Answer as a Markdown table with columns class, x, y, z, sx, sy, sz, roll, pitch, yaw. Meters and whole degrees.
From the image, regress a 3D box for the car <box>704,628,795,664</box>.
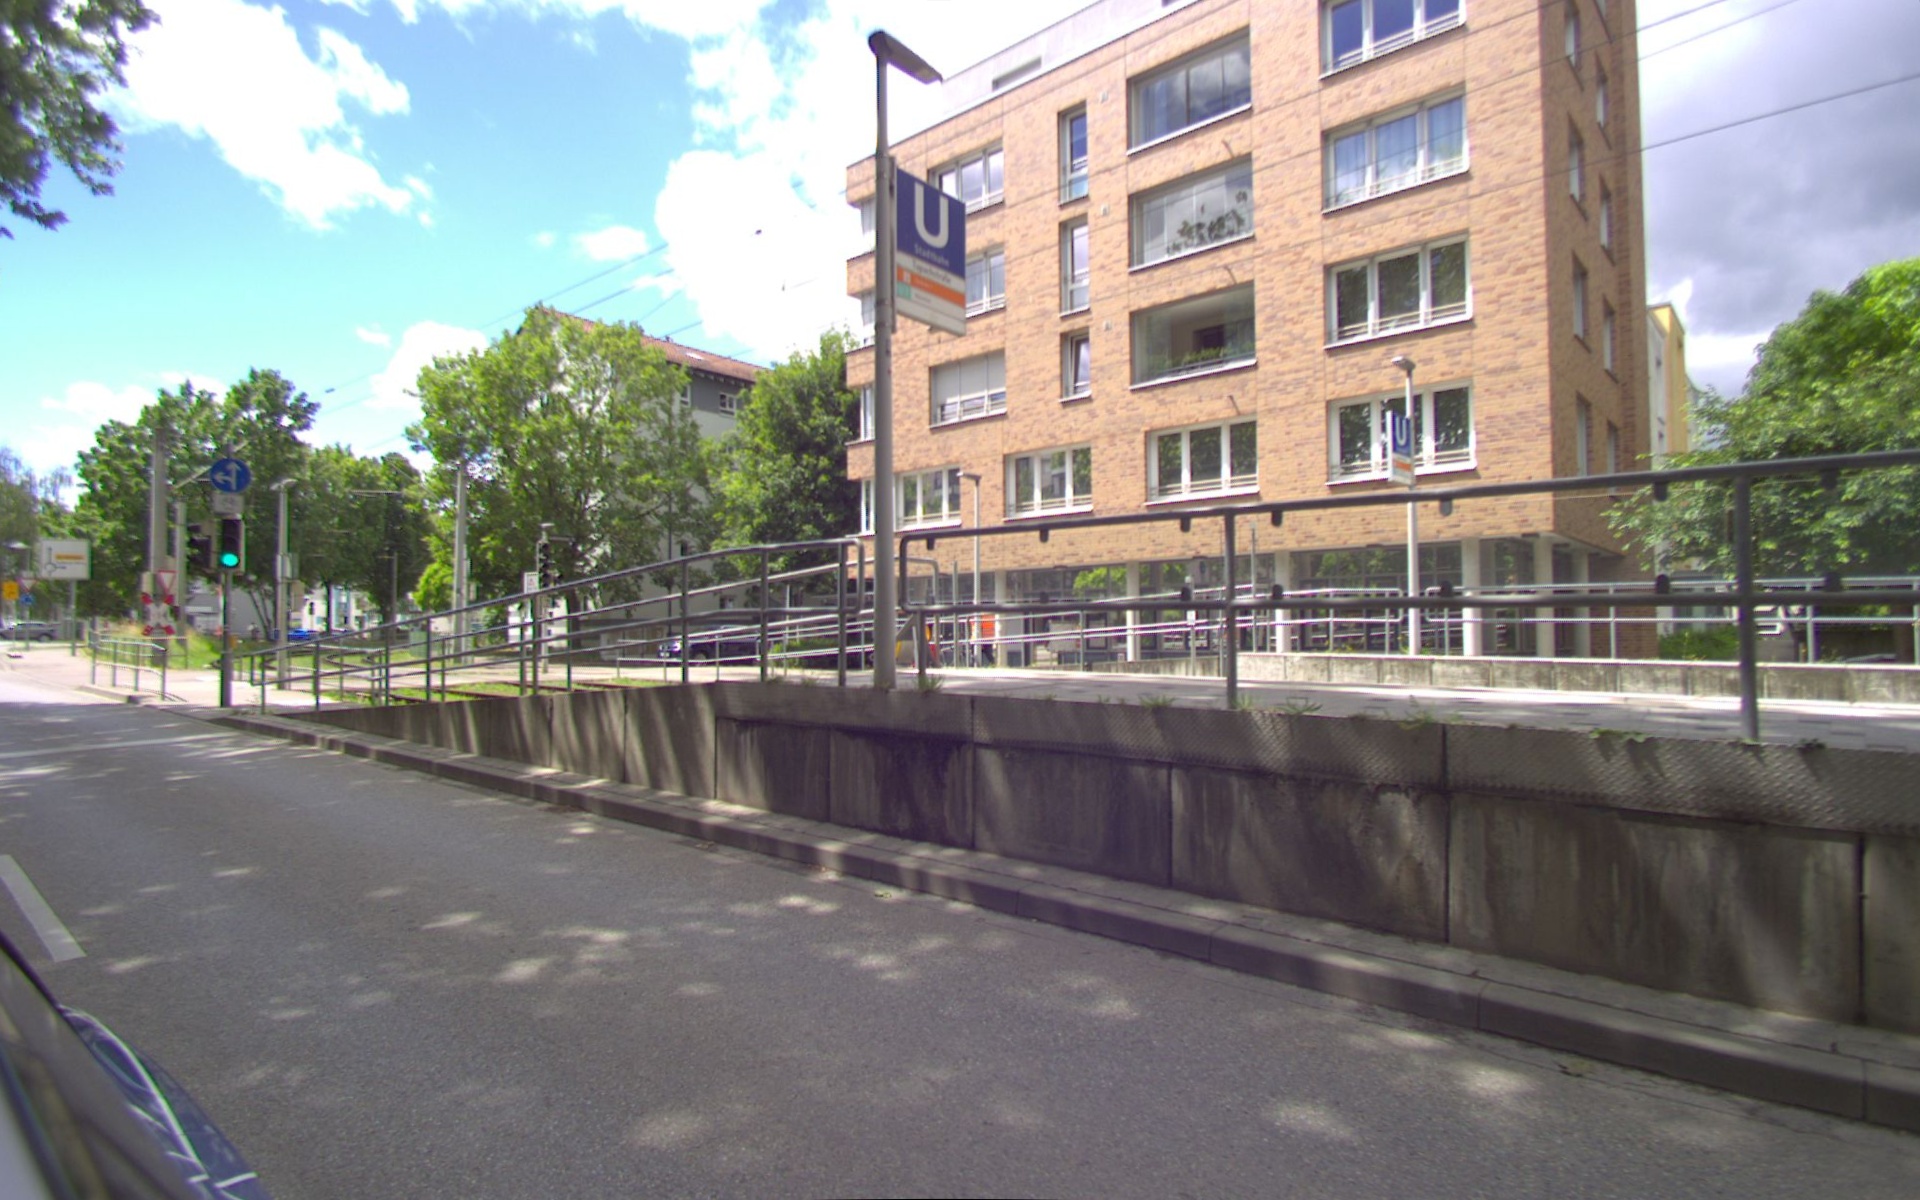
| class | x | y | z | sx | sy | sz | roll | pitch | yaw |
| --- | --- | --- | --- | --- | --- | --- | --- | --- | --- |
| car | -9.899 | 2.130 | 47.509 | 4.100 | 1.567 | 1.839 | -1 | -2 | 34 |

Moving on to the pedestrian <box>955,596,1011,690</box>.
| class | x | y | z | sx | sy | sz | roll | pitch | yaw |
| --- | --- | --- | --- | --- | --- | --- | --- | --- | --- |
| pedestrian | 0.461 | 0.855 | 20.244 | 0.828 | 1.839 | 0.735 | -3 | -3 | 40 |

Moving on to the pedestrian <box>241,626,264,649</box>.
| class | x | y | z | sx | sy | sz | roll | pitch | yaw |
| --- | --- | --- | --- | --- | --- | --- | --- | --- | --- |
| pedestrian | -52.731 | 2.800 | 75.436 | 1.011 | 1.677 | 0.872 | -1 | -2 | 12 |

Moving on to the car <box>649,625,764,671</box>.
| class | x | y | z | sx | sy | sz | roll | pitch | yaw |
| --- | --- | --- | --- | --- | --- | --- | --- | --- | --- |
| car | -8.940 | 1.720 | 35.867 | 1.588 | 1.488 | 3.632 | -2 | -5 | 43 |

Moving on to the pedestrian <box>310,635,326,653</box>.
| class | x | y | z | sx | sy | sz | roll | pitch | yaw |
| --- | --- | --- | --- | --- | --- | --- | --- | --- | --- |
| pedestrian | -59.666 | 4.062 | 94.047 | 0.874 | 1.677 | 1.010 | -2 | -3 | 35 |

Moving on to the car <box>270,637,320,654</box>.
| class | x | y | z | sx | sy | sz | roll | pitch | yaw |
| --- | --- | --- | --- | --- | --- | --- | --- | --- | --- |
| car | -63.020 | 4.309 | 95.899 | 4.092 | 1.535 | 1.797 | -1 | -2 | 20 |

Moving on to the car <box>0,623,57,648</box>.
| class | x | y | z | sx | sy | sz | roll | pitch | yaw |
| --- | --- | --- | --- | --- | --- | --- | --- | --- | --- |
| car | -68.741 | 2.588 | 73.452 | 2.000 | 1.810 | 4.552 | -2 | -3 | 43 |
